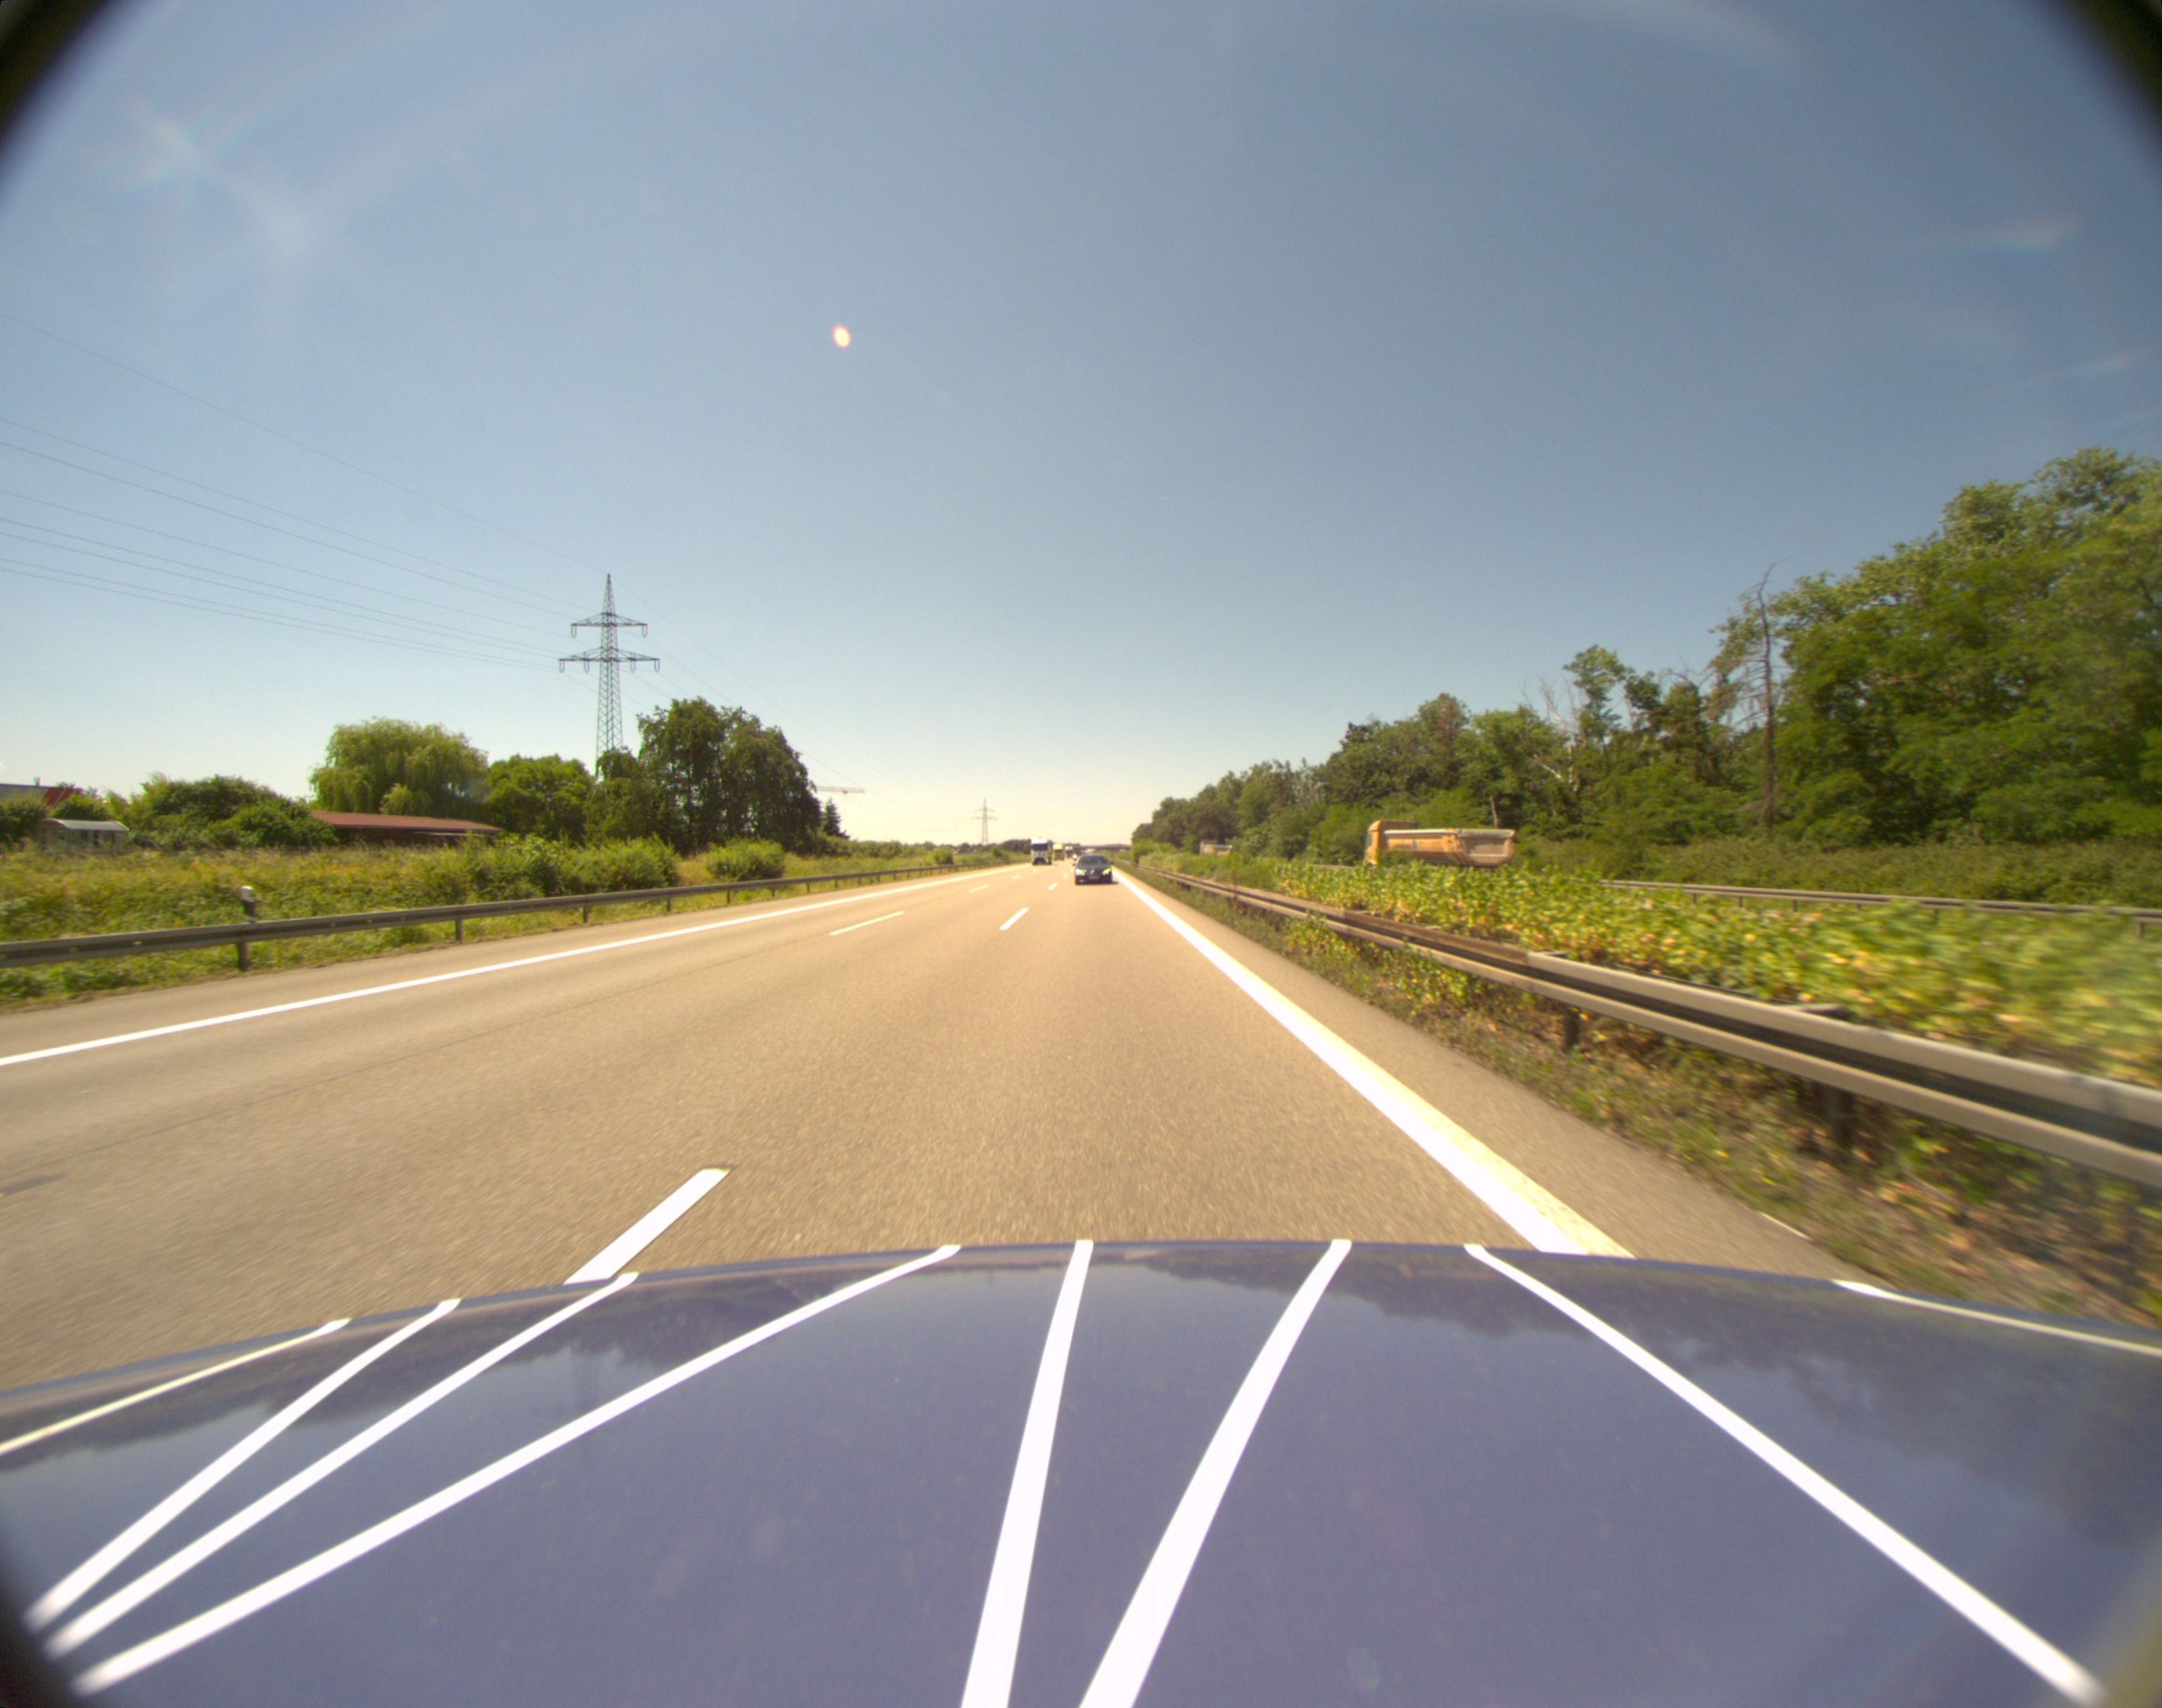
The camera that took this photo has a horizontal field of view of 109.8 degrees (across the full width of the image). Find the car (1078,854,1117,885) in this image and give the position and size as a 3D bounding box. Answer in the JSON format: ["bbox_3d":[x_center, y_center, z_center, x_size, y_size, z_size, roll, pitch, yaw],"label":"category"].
[{"bbox_3d":[0.792,0.745,38.231,1.808,1.385,3.999,-2,1,0],"label":"car"}]

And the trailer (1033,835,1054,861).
[{"bbox_3d":[-5.821,-0.969,119.837,2.573,3.871,13.278,-2,1,0],"label":"trailer"}]

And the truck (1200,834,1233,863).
[{"bbox_3d":[18.594,-0.775,105.039,2.544,3.613,11.843,1,1,1],"label":"truck"}]

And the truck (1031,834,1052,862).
[{"bbox_3d":[-5.868,-0.905,113.399,2.573,3.871,5.722,-2,1,0],"label":"truck"}]

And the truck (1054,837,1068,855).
[{"bbox_3d":[-4.768,-1.970,185.813,2.978,4.240,12.609,0,1,0],"label":"truck"}]

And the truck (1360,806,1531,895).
[{"bbox_3d":[17.572,-0.168,38.054,2.907,3.684,11.898,1,0,1],"label":"truck"}]

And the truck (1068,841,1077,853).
[{"bbox_3d":[-3.002,-2.390,264.983,2.978,4.240,12.609,0,1,0],"label":"truck"}]
